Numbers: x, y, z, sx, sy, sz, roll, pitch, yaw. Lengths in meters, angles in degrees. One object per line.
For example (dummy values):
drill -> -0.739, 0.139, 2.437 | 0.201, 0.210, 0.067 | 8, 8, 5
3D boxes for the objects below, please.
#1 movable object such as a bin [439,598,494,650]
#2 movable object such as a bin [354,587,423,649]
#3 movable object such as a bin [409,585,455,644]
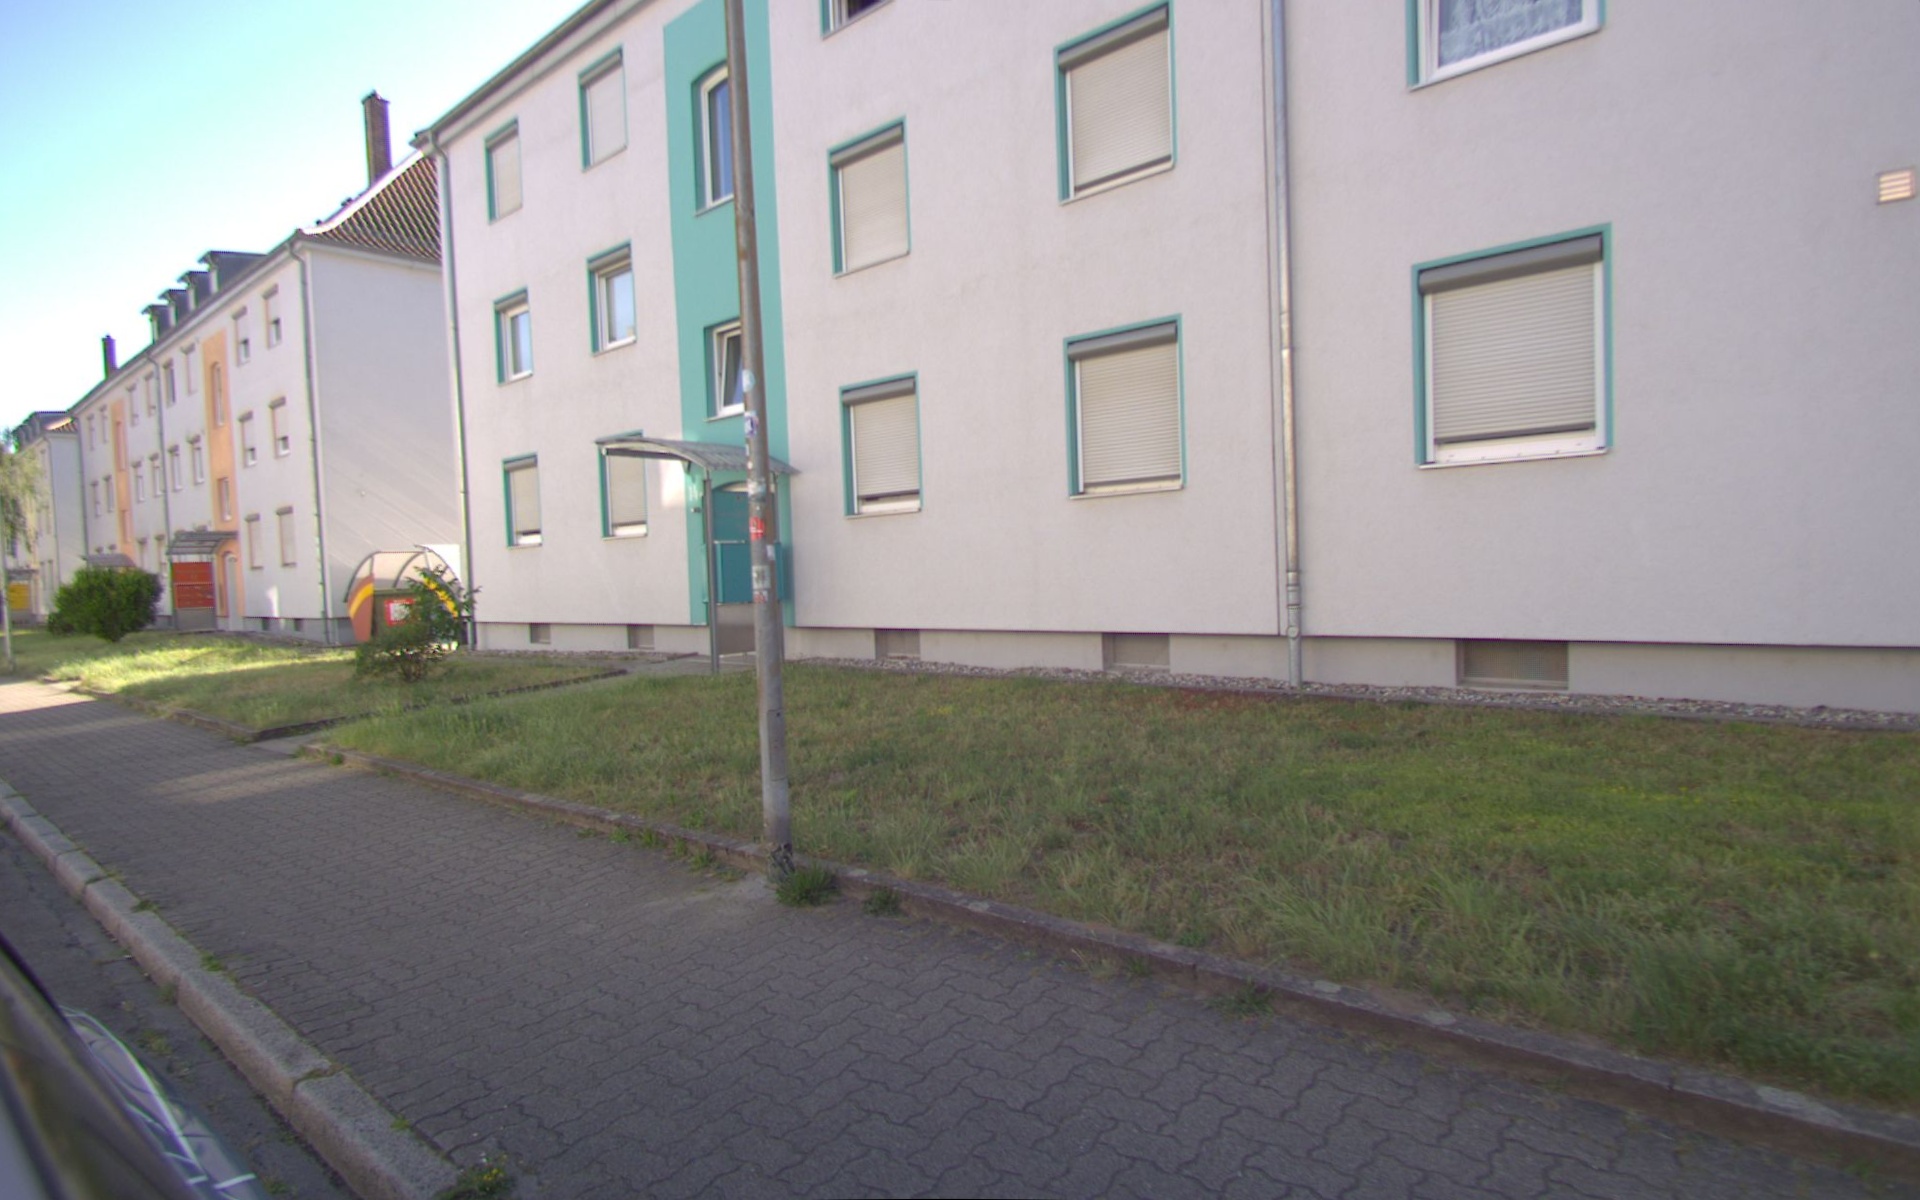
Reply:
movable object such as a bin -> -10.127, 0.486, 20.780 | 0.762, 1.020, 0.743 | -1, 1, 41
movable object such as a bin -> -13.675, 0.415, 24.224 | 0.877, 1.403, 1.152 | -1, 1, 41
movable object such as a bin -> -13.037, 0.363, 24.984 | 0.762, 1.403, 0.743 | -1, 1, 41
